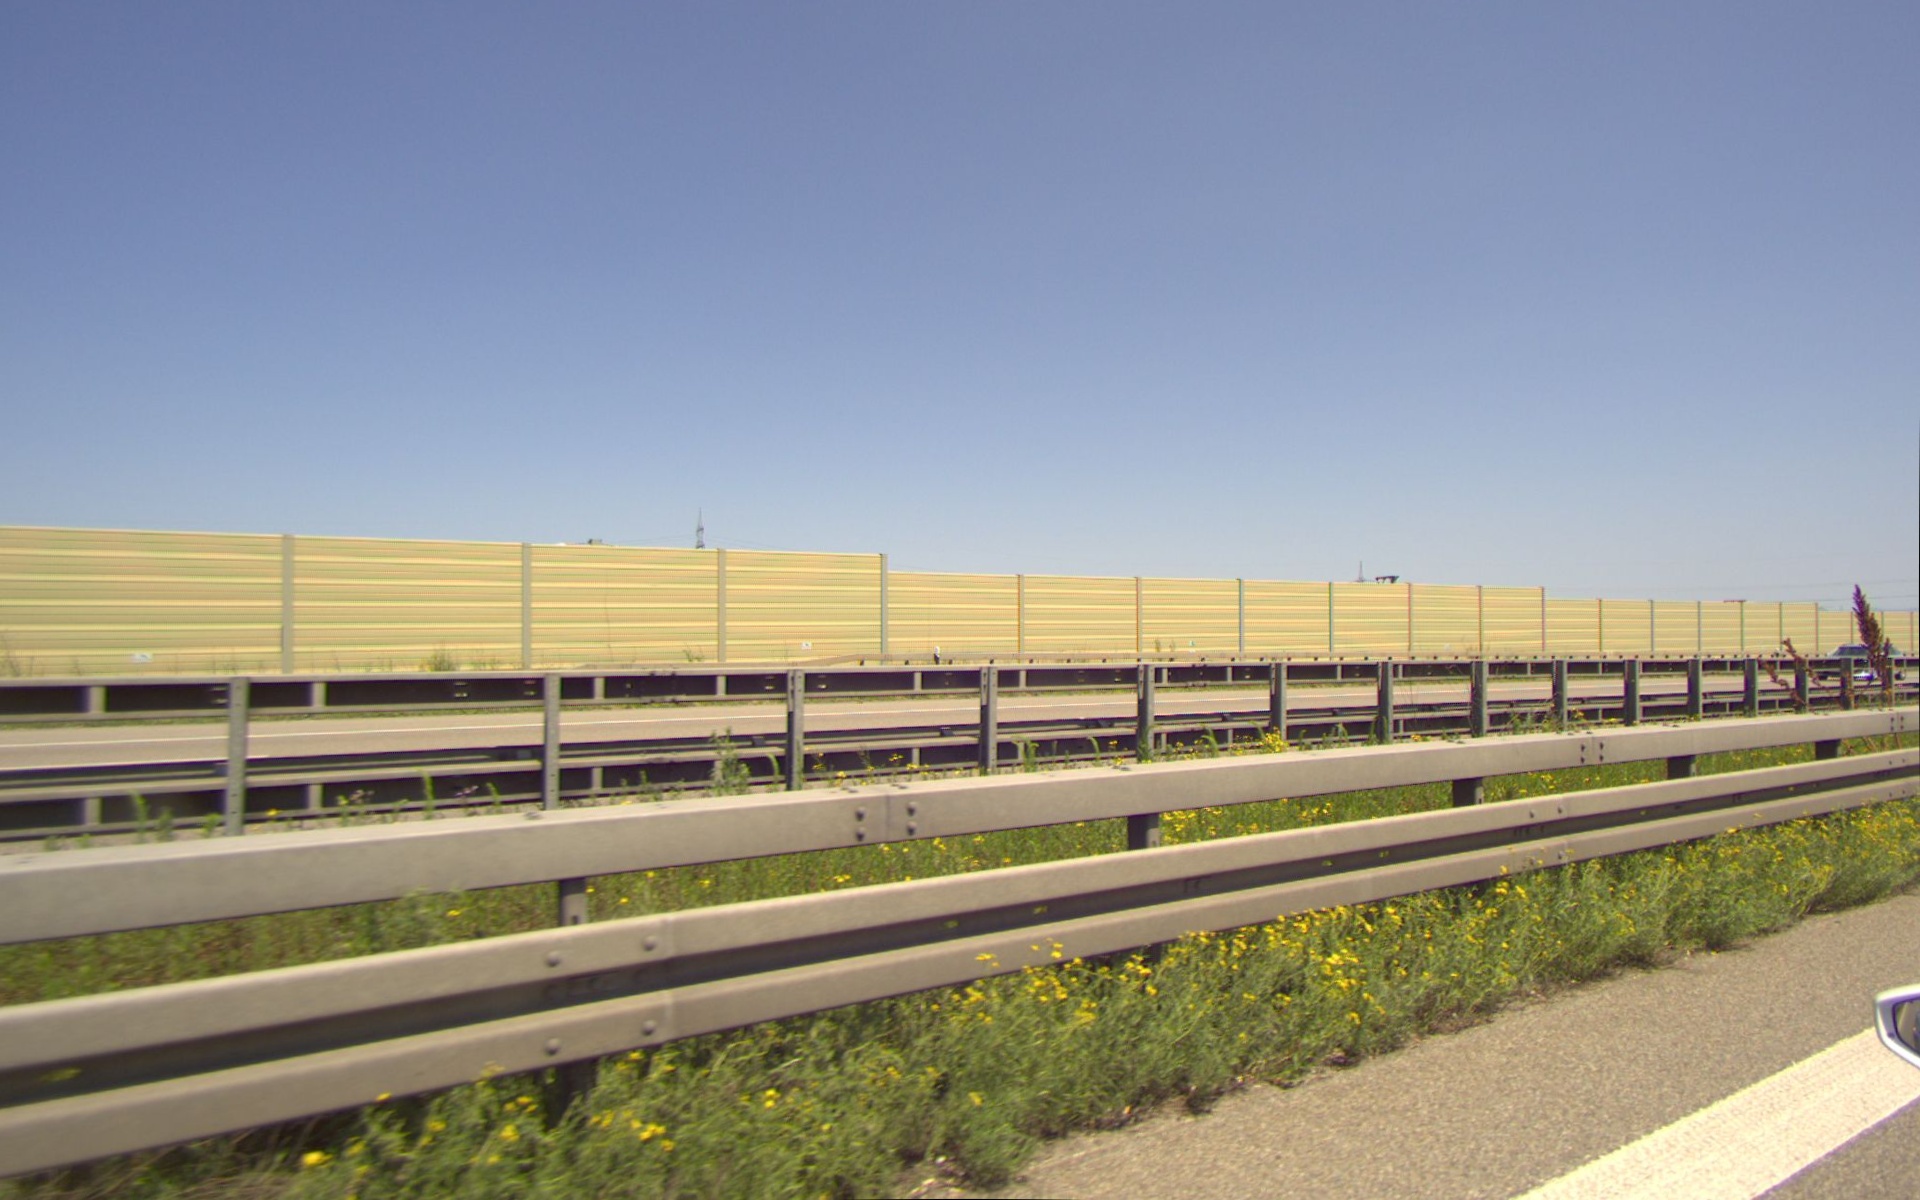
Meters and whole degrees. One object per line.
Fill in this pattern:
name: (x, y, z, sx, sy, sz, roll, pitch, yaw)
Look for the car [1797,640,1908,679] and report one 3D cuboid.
car: (36.084, 2.367, 40.590, 4.757, 1.483, 1.984, 1, -2, -30)
